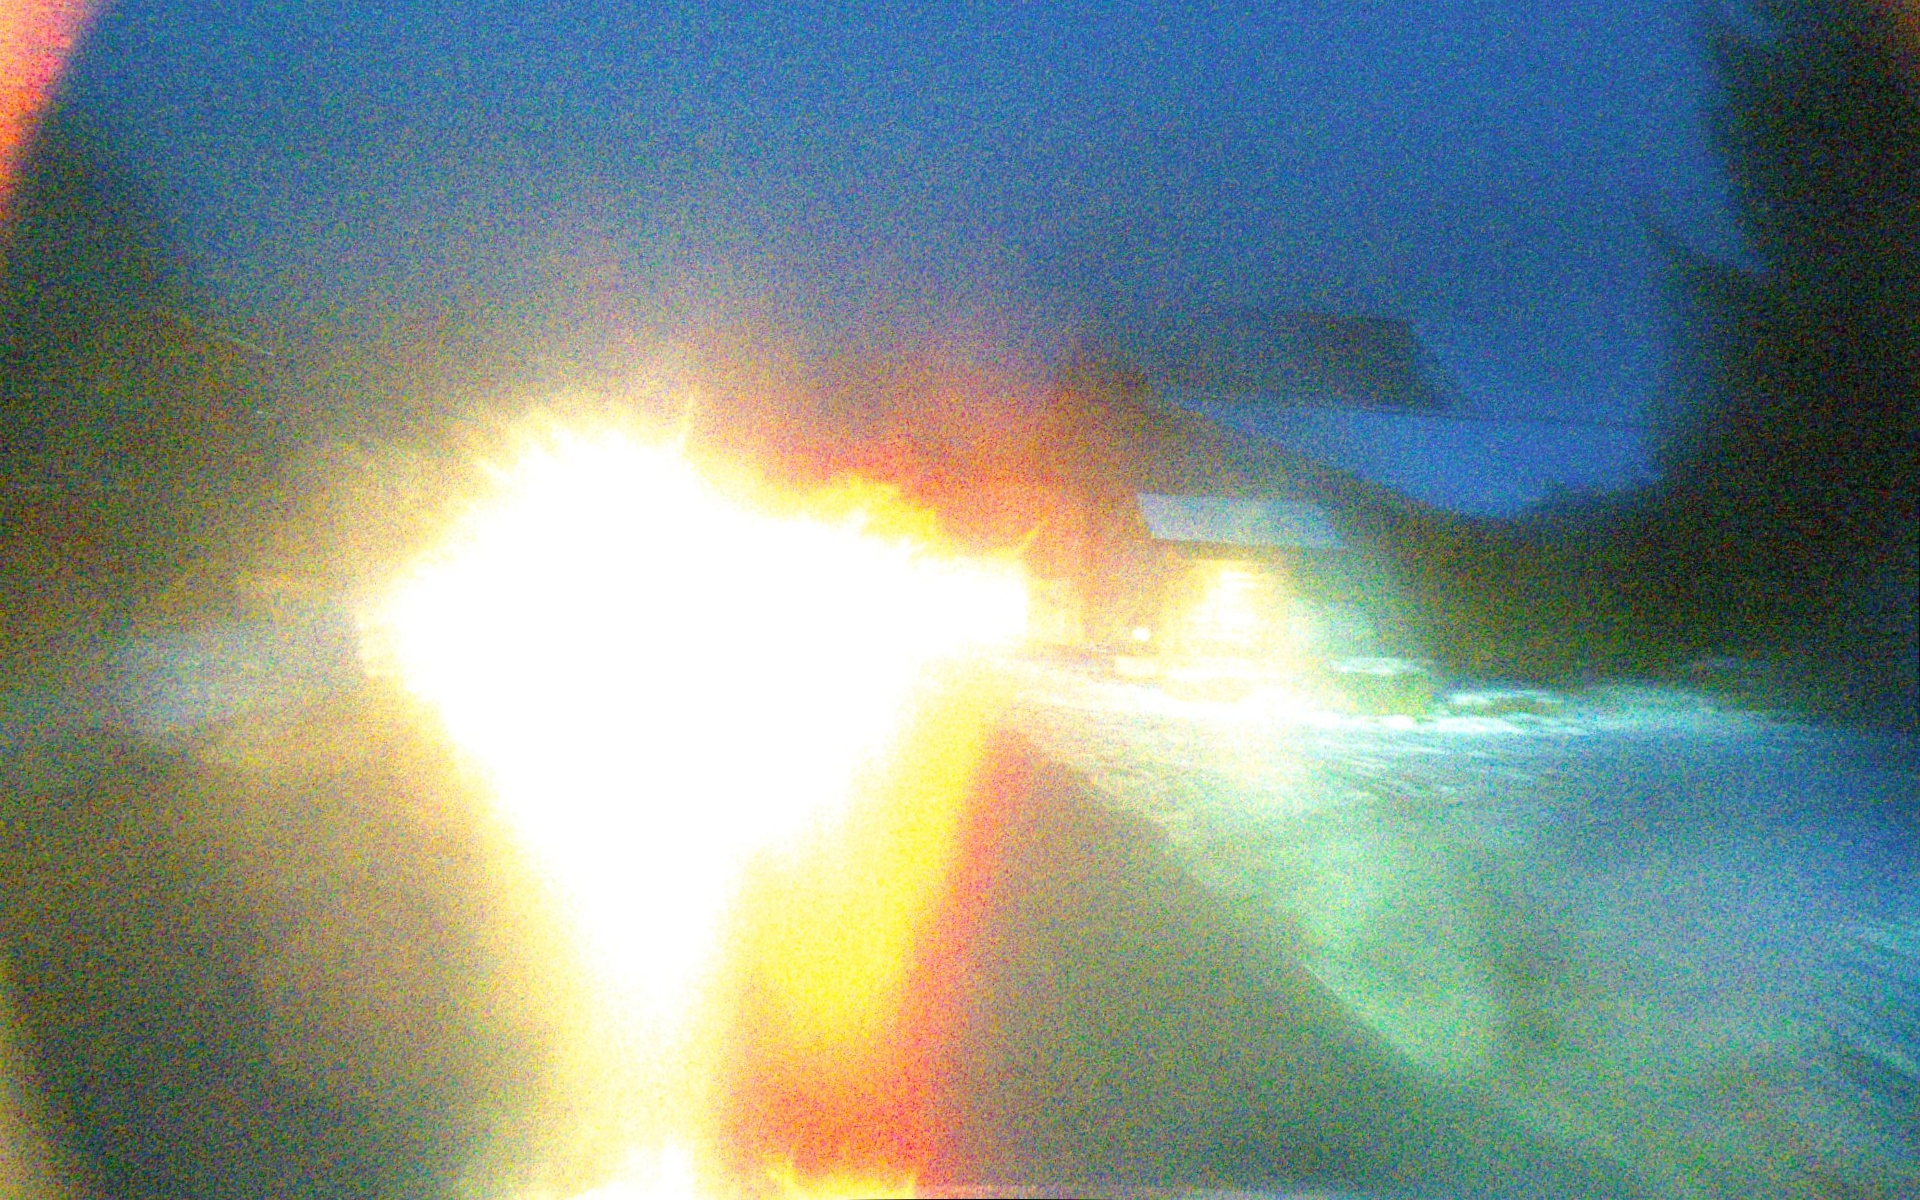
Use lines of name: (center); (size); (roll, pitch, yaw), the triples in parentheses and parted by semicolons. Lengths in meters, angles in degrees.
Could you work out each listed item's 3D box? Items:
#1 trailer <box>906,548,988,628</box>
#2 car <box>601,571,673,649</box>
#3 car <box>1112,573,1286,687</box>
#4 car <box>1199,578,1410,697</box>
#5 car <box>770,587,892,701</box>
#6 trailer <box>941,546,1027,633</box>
trailer: (-0.488, -0.407, 54.675); (1.602, 2.405, 4.638); (4, 0, -13)
car: (-9.458, 0.271, 48.485); (1.884, 2.092, 4.875); (3, 0, -11)
car: (4.722, 0.555, 33.359); (1.847, 2.075, 4.373); (3, 0, -15)
car: (5.807, 0.584, 28.448); (1.847, 1.841, 4.139); (3, 0, -15)
car: (-2.190, 0.671, 27.263); (1.767, 1.657, 3.609); (2, 0, -7)
trailer: (0.671, -0.342, 49.985); (1.577, 2.393, 4.419); (4, 0, -11)
